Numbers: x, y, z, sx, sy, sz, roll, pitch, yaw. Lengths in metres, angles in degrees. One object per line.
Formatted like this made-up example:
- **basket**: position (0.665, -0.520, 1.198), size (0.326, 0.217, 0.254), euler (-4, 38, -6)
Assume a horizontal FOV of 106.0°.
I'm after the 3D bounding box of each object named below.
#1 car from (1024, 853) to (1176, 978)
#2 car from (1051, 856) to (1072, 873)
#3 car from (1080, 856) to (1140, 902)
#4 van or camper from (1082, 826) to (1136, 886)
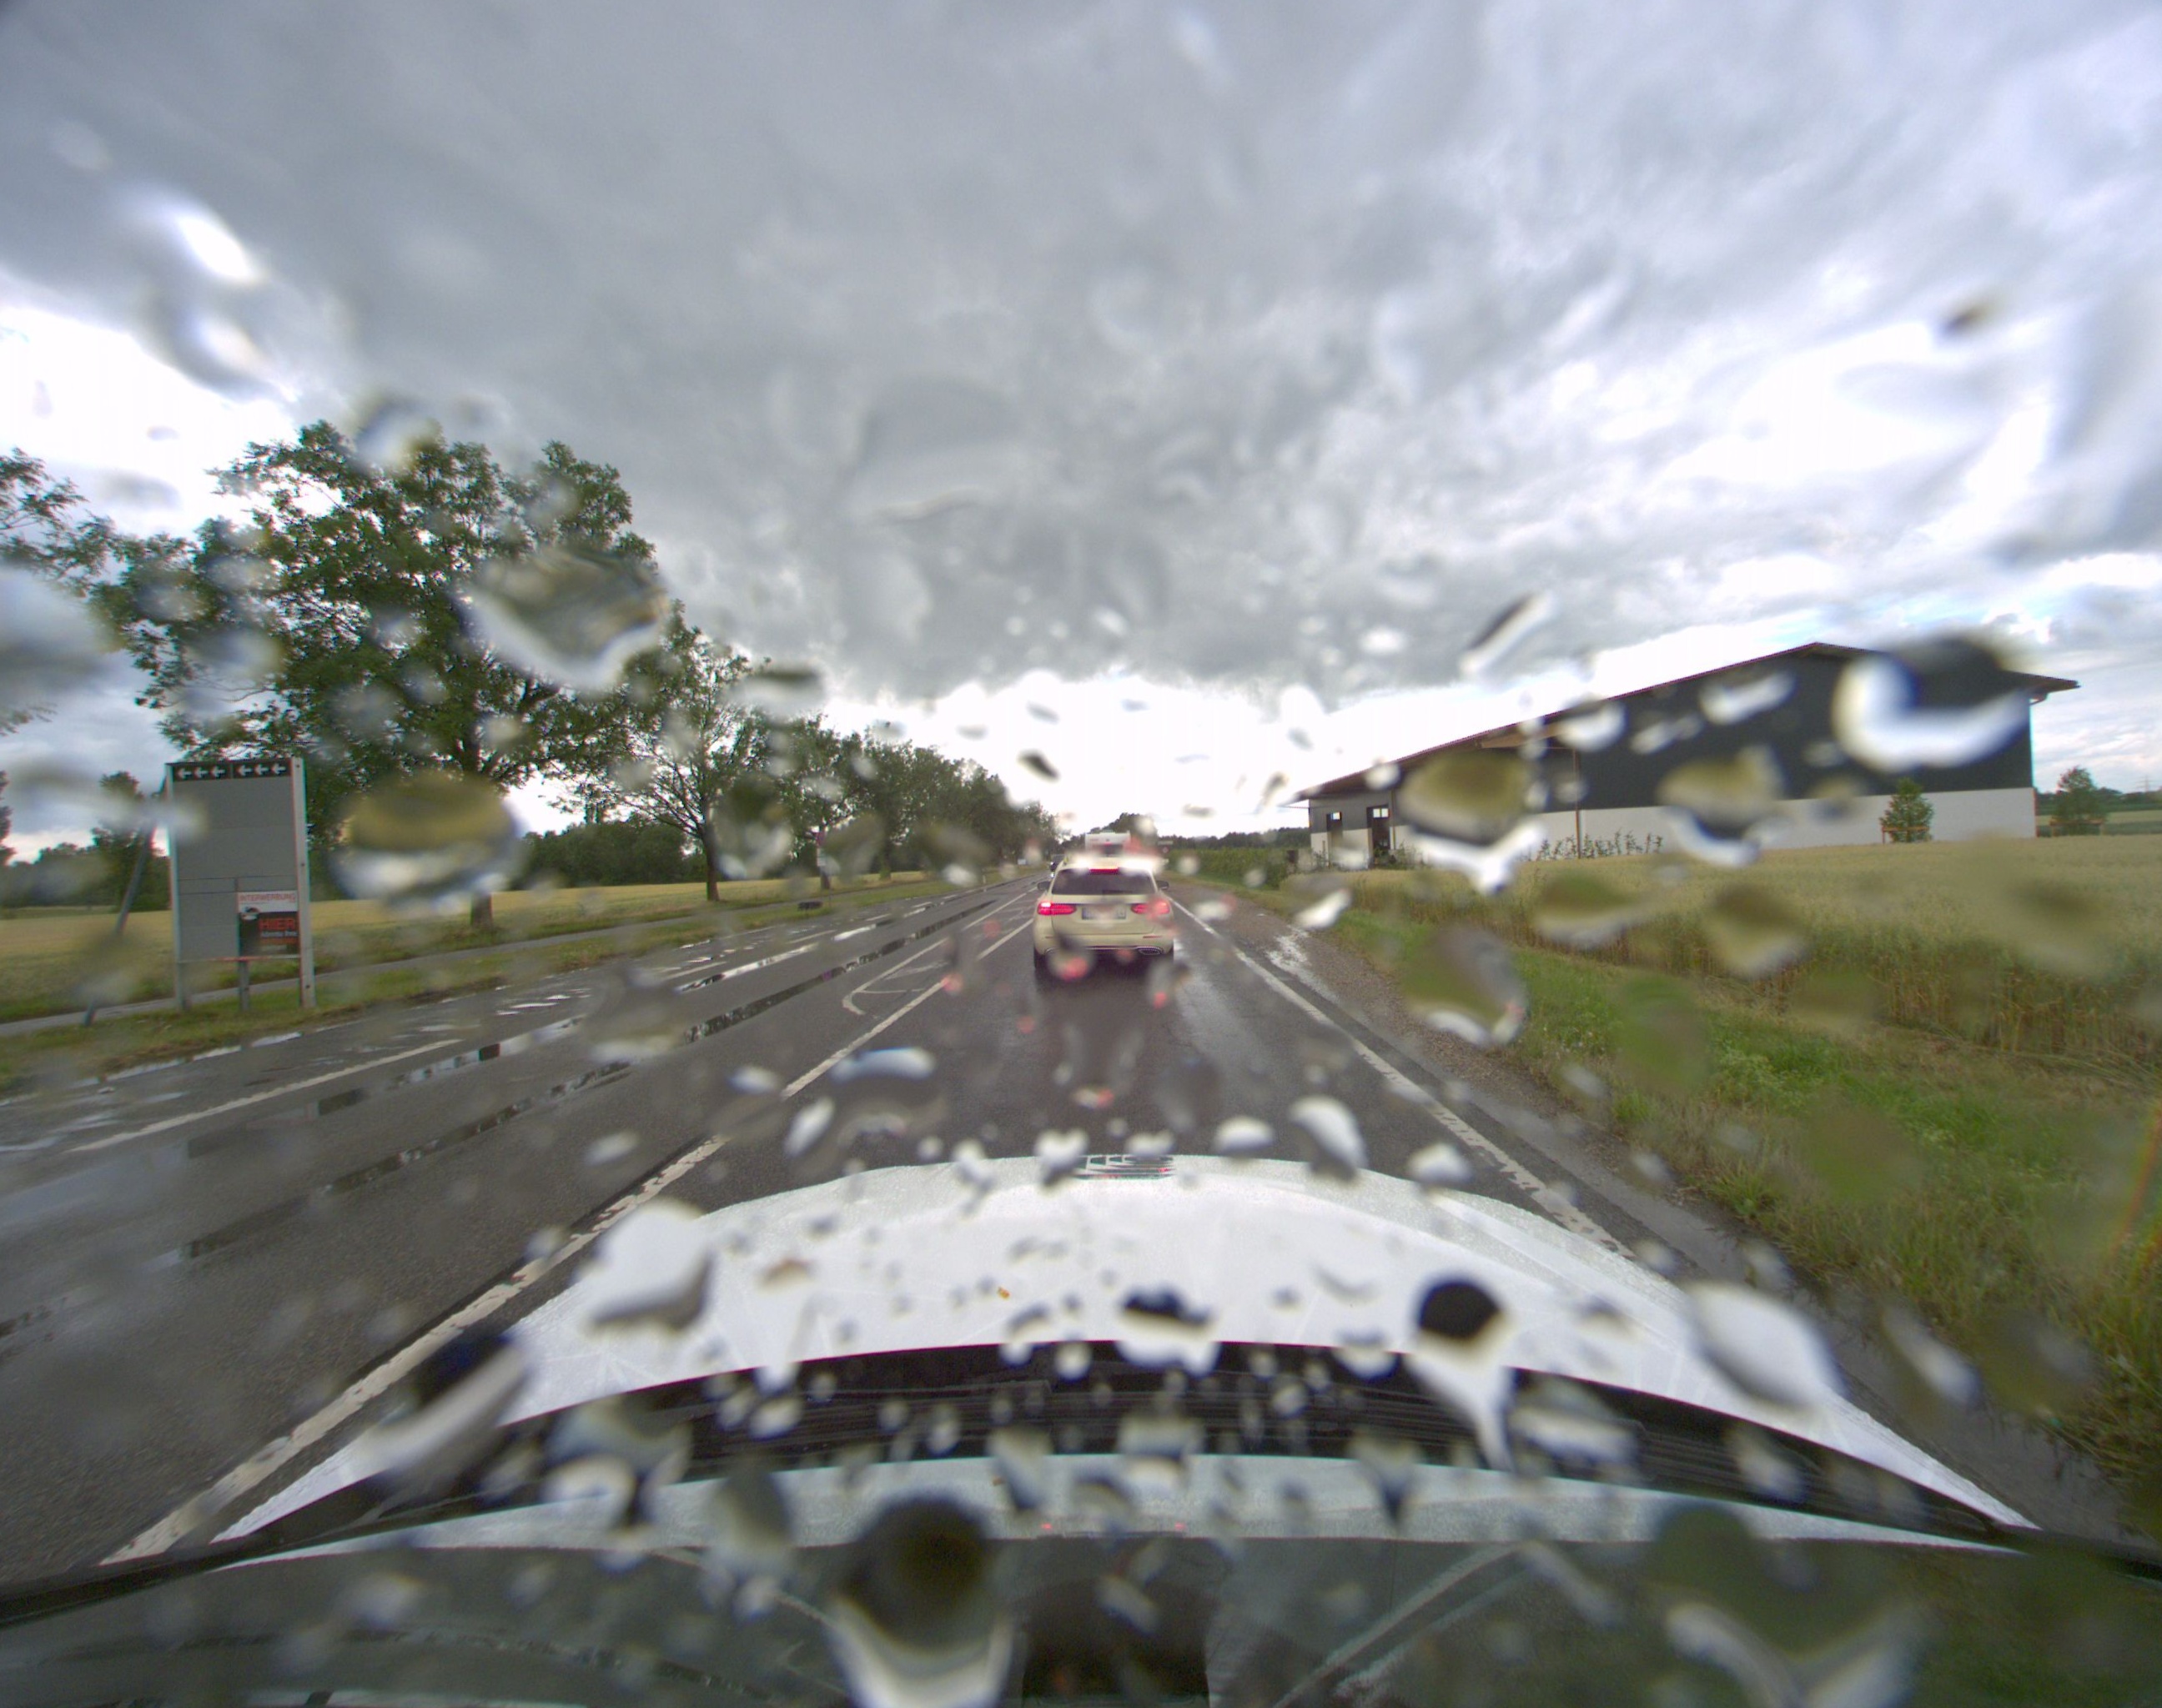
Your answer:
- **car**: position (0.304, 0.727, 11.703), size (1.790, 1.464, 4.033), euler (-1, 0, 2)
- **car**: position (-2.050, 1.080, 85.184), size (1.909, 1.632, 4.359), euler (-2, 0, 2)
- **car**: position (0.979, 0.804, 28.151), size (1.887, 1.429, 3.929), euler (-1, 0, 1)
- **van or camper**: position (1.536, 0.117, 42.991), size (2.487, 2.831, 5.938), euler (-3, 0, 3)
